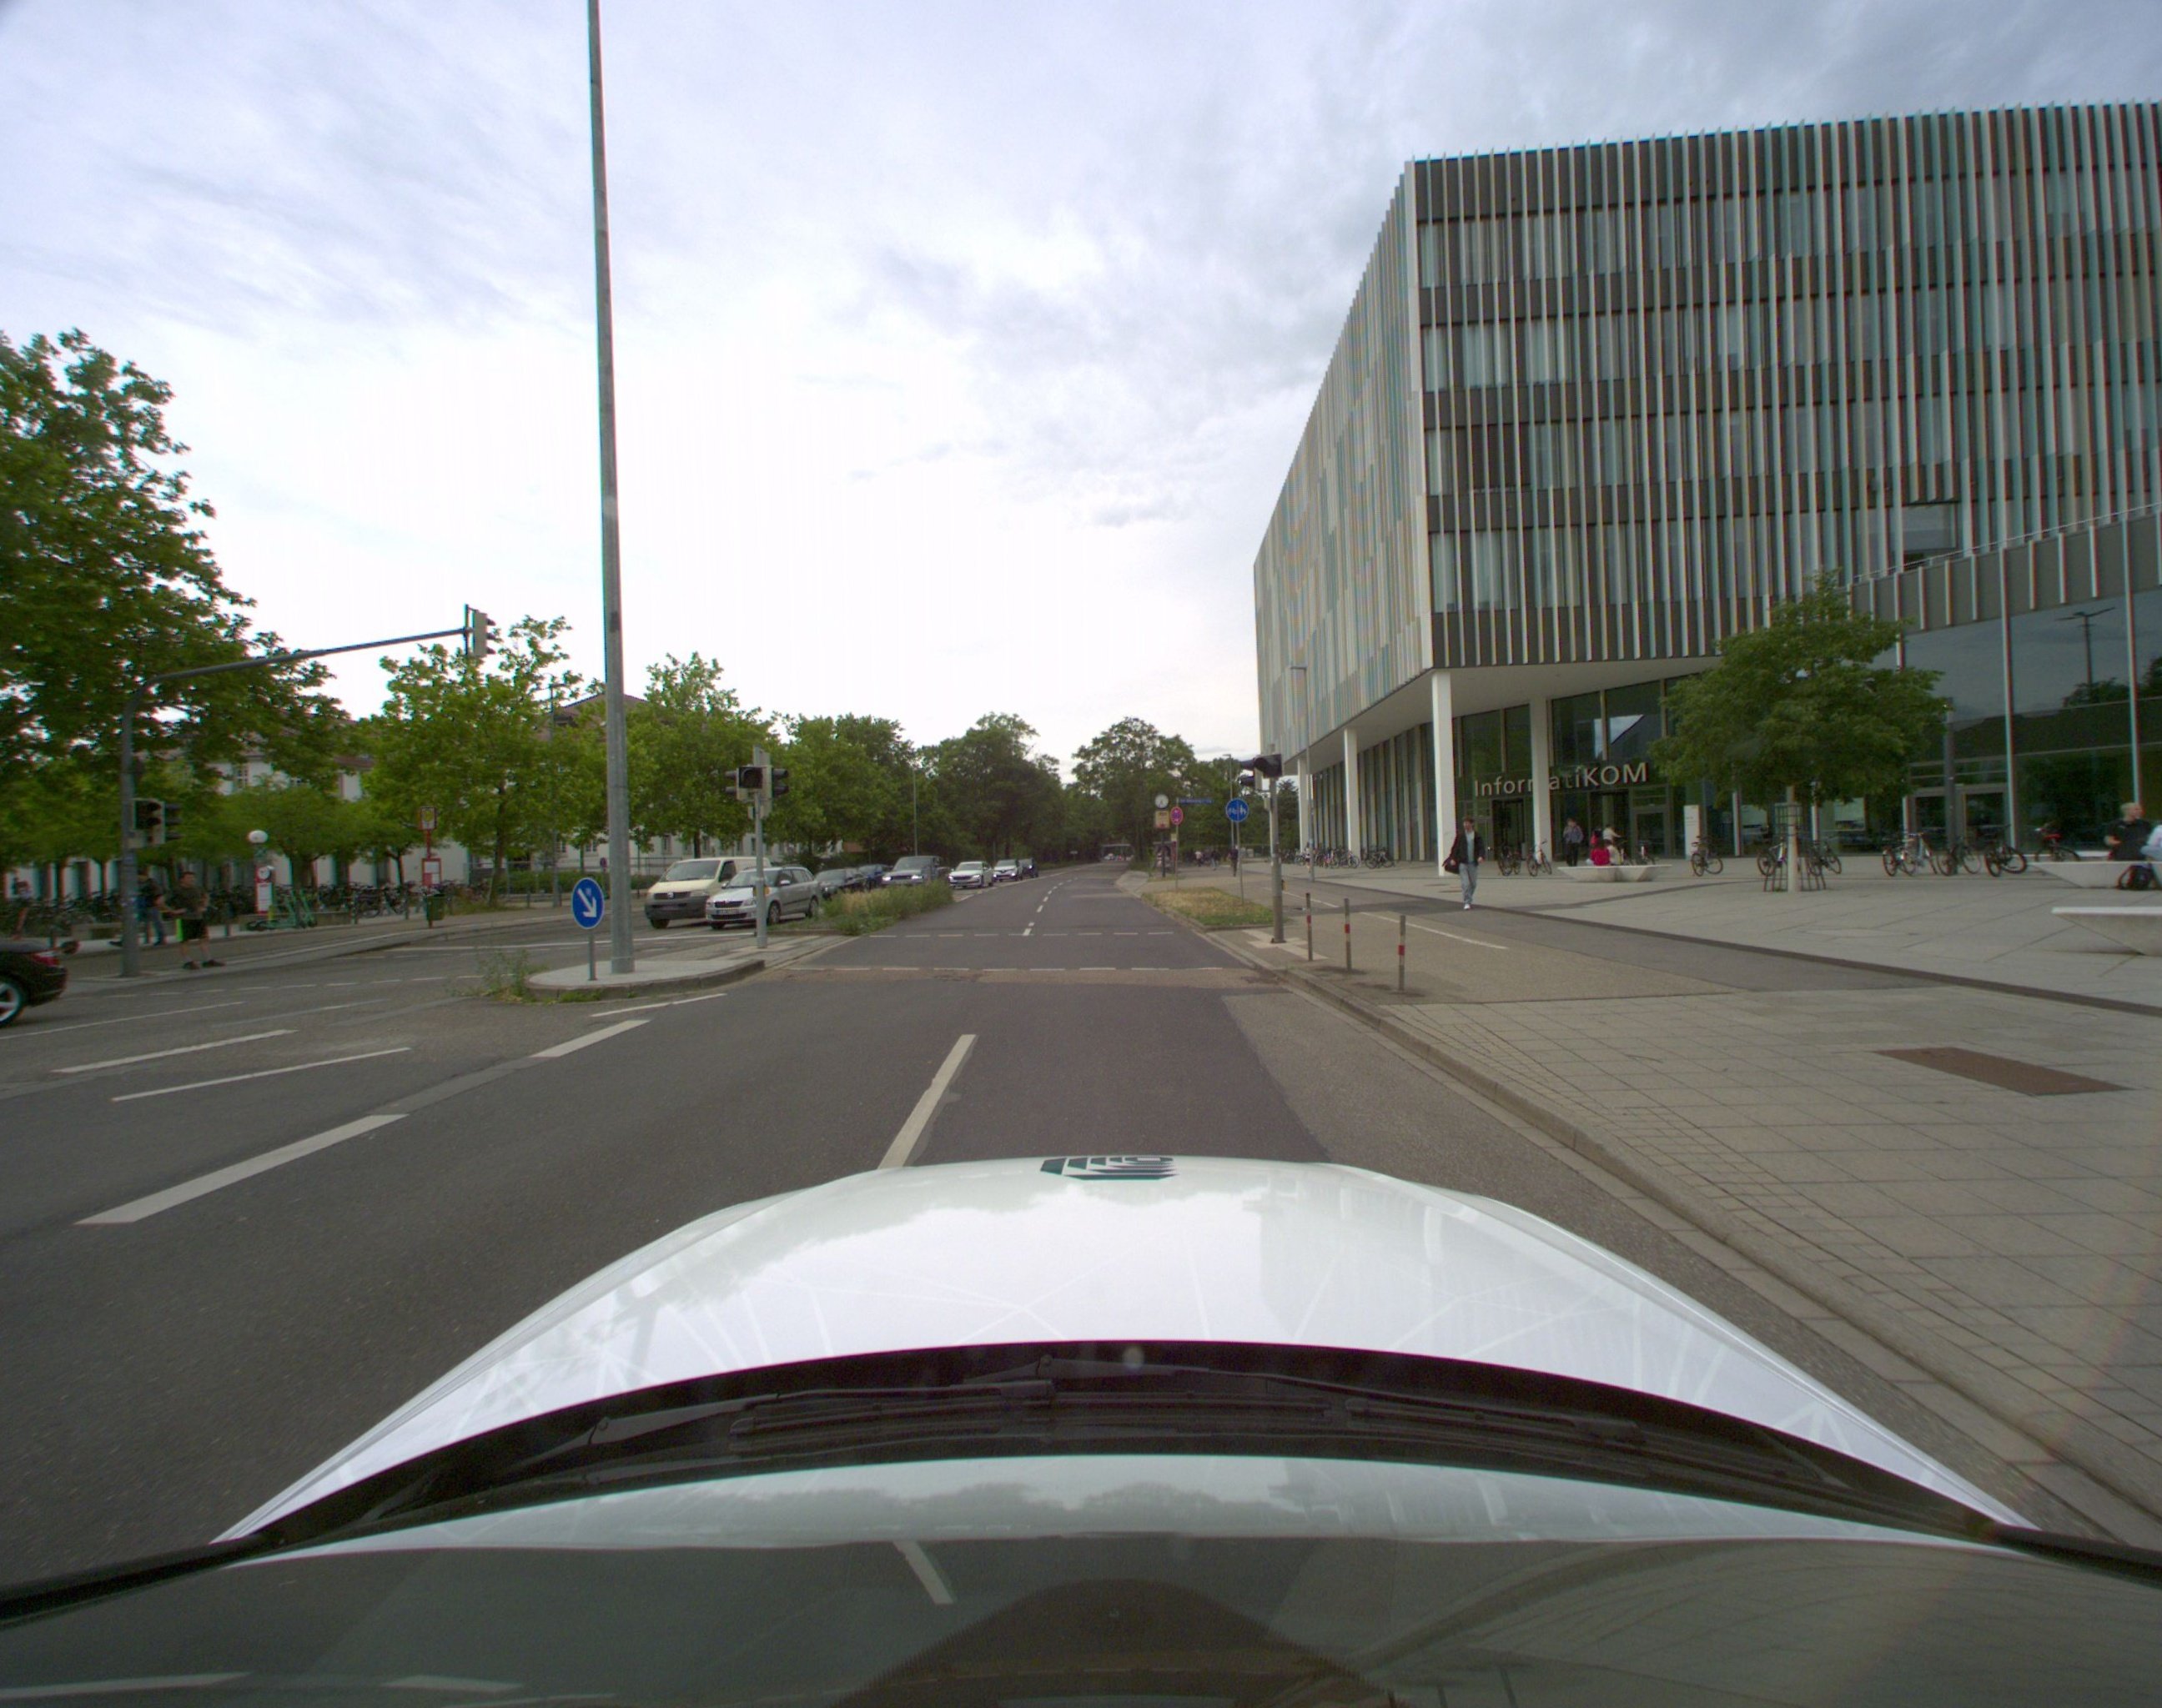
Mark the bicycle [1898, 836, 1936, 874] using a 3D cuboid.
[{"bbox_3d":[21.066,0.028,20.514,1.364,0.899,0.536,-2,0,-40],"label":"bicycle"}]

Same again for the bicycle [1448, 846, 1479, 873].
[{"bbox_3d":[15.291,0.209,32.585,0.635,1.061,1.845,0,0,9],"label":"bicycle"}]

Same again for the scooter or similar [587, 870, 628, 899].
[{"bbox_3d":[-22.086,1.422,37.974,1.567,1.244,0.567,-2,-1,4],"label":"scooter or similar"}]

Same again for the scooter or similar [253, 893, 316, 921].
[{"bbox_3d":[-22.552,1.496,23.079,0.404,0.693,1.292,0,0,7],"label":"scooter or similar"}]

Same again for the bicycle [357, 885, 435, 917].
[{"bbox_3d":[-28.023,1.911,33.339,2.326,1.144,0.718,-2,0,-14],"label":"bicycle"}]

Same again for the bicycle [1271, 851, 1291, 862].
[{"bbox_3d":[17.617,0.222,71.825,1.599,0.875,0.557,-3,0,4],"label":"bicycle"}]

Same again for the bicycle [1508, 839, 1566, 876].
[{"bbox_3d":[16.232,0.115,28.961,2.733,1.188,0.766,-2,0,-38],"label":"bicycle"}]

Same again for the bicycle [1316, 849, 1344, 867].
[{"bbox_3d":[15.849,0.252,51.835,1.599,0.982,0.557,-5,-1,4],"label":"bicycle"}]

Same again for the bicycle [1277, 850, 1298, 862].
[{"bbox_3d":[16.847,0.174,66.457,1.599,0.875,0.557,-3,0,4],"label":"bicycle"}]

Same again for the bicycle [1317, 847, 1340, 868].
[{"bbox_3d":[14.493,0.197,47.754,0.634,1.140,2.201,-5,-1,0],"label":"bicycle"}]

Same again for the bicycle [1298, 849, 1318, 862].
[{"bbox_3d":[16.267,0.126,58.312,1.277,0.875,0.557,-3,0,4],"label":"bicycle"}]

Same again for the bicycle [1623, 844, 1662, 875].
[{"bbox_3d":[18.049,0.168,26.148,1.857,0.899,0.664,-2,0,-45],"label":"bicycle"}]

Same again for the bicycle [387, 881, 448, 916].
[{"bbox_3d":[-33.139,2.222,40.707,2.391,1.594,0.721,-2,-1,0],"label":"bicycle"}]

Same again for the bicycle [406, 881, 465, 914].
[{"bbox_3d":[-33.197,2.222,41.878,2.391,1.594,0.721,-2,-1,0],"label":"bicycle"}]

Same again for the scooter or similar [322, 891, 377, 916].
[{"bbox_3d":[-22.101,1.493,24.628,0.404,0.693,1.292,0,0,7],"label":"scooter or similar"}]

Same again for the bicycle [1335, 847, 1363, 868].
[{"bbox_3d":[14.768,0.185,44.921,0.607,1.080,1.958,-4,0,-7],"label":"bicycle"}]

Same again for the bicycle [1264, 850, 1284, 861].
[{"bbox_3d":[17.257,0.168,72.815,1.599,0.875,0.557,-3,0,4],"label":"bicycle"}]

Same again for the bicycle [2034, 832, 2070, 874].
[{"bbox_3d":[22.637,-0.029,18.993,1.559,0.899,0.503,-2,0,-40],"label":"bicycle"}]

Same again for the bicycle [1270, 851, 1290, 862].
[{"bbox_3d":[17.418,0.234,71.221,1.599,0.875,0.557,-4,-1,4],"label":"bicycle"}]

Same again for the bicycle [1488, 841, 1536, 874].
[{"bbox_3d":[16.077,0.124,30.378,2.194,1.115,0.728,-2,0,-39],"label":"bicycle"}]

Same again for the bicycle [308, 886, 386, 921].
[{"bbox_3d":[-27.425,1.851,30.473,2.032,1.153,0.718,-2,0,-14],"label":"bicycle"}]

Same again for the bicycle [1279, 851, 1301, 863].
[{"bbox_3d":[16.270,0.203,63.437,1.525,0.833,0.557,-3,0,4],"label":"bicycle"}]

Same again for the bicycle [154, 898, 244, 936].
[{"bbox_3d":[-33.264,2.385,30.728,2.526,1.269,0.721,-2,-1,0],"label":"bicycle"}]

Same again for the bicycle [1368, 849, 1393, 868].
[{"bbox_3d":[15.839,0.226,43.023,1.495,0.929,0.436,-3,1,-35],"label":"bicycle"}]

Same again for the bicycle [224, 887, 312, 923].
[{"bbox_3d":[-33.359,2.073,33.432,2.808,1.329,0.721,-2,-1,0],"label":"bicycle"}]

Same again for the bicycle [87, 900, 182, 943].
[{"bbox_3d":[-33.503,2.388,28.850,2.476,1.353,0.721,-2,-1,0],"label":"bicycle"}]

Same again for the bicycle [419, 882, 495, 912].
[{"bbox_3d":[-27.331,1.884,35.676,2.737,1.174,0.721,-2,-1,0],"label":"bicycle"}]

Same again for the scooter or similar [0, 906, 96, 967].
[{"bbox_3d":[-21.571,1.701,16.988,0.358,1.140,1.321,-3,0,5],"label":"scooter or similar"}]

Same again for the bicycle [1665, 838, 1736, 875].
[{"bbox_3d":[18.697,0.066,24.574,2.196,1.006,0.775,-2,0,-26],"label":"bicycle"}]

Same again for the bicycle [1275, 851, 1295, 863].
[{"bbox_3d":[17.565,0.256,70.221,1.599,0.875,0.557,-3,0,4],"label":"bicycle"}]

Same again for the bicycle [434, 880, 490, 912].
[{"bbox_3d":[-32.948,2.221,43.376,2.391,1.594,0.721,-2,-1,0],"label":"bicycle"}]

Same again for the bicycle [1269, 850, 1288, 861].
[{"bbox_3d":[17.841,0.133,73.632,1.601,0.875,0.556,-3,0,0],"label":"bicycle"}]

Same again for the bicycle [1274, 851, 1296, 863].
[{"bbox_3d":[16.428,0.279,65.504,1.599,0.875,0.557,-3,0,4],"label":"bicycle"}]

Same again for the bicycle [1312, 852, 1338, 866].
[{"bbox_3d":[16.368,0.354,54.673,1.599,0.875,0.557,-3,-1,4],"label":"bicycle"}]

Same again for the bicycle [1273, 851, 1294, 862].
[{"bbox_3d":[16.083,0.191,64.687,1.448,0.839,0.557,-3,0,4],"label":"bicycle"}]

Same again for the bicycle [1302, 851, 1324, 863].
[{"bbox_3d":[17.102,0.224,60.055,1.428,0.746,0.557,-3,0,4],"label":"bicycle"}]

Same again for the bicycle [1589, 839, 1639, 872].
[{"bbox_3d":[17.626,0.046,26.920,1.969,1.002,0.766,-2,0,-38],"label":"bicycle"}]

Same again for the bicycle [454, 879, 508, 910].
[{"bbox_3d":[-33.207,2.223,45.109,2.391,1.594,0.721,-2,-1,0],"label":"bicycle"}]

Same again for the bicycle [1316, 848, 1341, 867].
[{"bbox_3d":[15.574,0.223,51.282,1.393,1.043,0.560,-4,-1,4],"label":"bicycle"}]

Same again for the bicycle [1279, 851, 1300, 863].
[{"bbox_3d":[17.651,0.240,69.022,1.599,0.875,0.557,-3,0,4],"label":"bicycle"}]

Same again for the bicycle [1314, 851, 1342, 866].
[{"bbox_3d":[15.916,0.300,52.430,1.599,0.875,0.557,-3,-1,4],"label":"bicycle"}]

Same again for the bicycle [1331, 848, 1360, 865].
[{"bbox_3d":[16.328,0.170,50.343,1.594,0.936,0.571,-5,0,14],"label":"bicycle"}]
